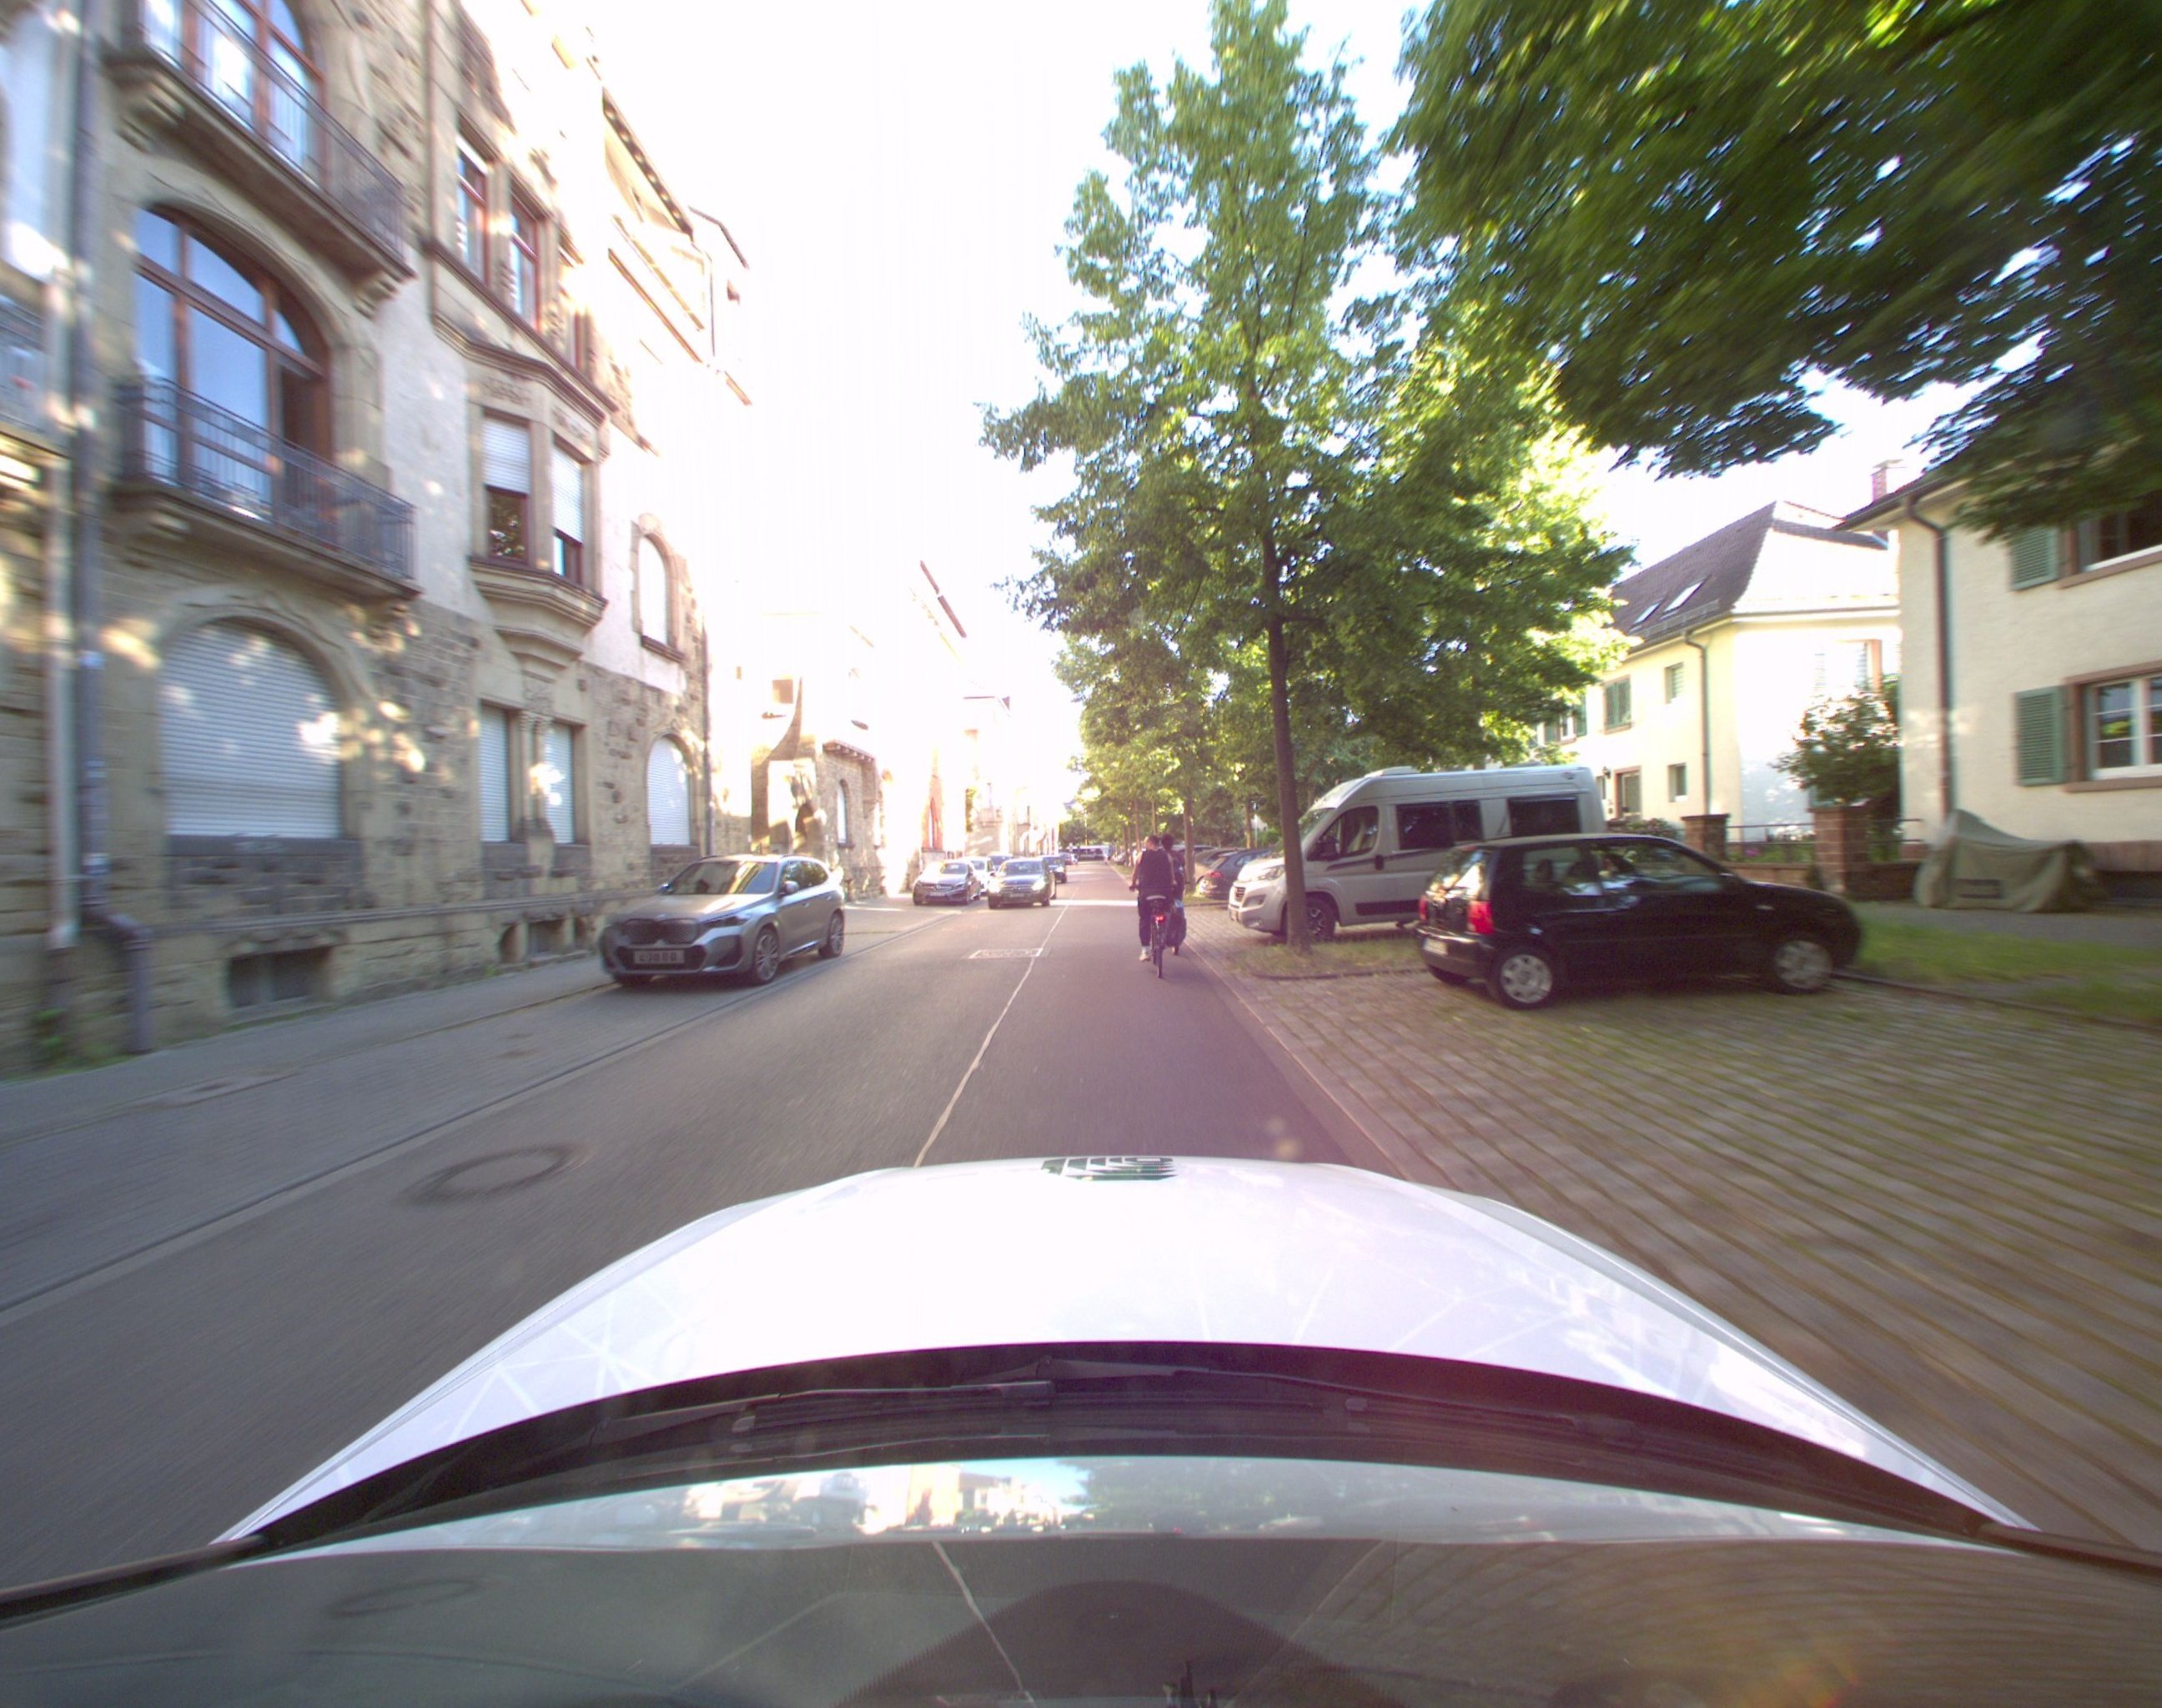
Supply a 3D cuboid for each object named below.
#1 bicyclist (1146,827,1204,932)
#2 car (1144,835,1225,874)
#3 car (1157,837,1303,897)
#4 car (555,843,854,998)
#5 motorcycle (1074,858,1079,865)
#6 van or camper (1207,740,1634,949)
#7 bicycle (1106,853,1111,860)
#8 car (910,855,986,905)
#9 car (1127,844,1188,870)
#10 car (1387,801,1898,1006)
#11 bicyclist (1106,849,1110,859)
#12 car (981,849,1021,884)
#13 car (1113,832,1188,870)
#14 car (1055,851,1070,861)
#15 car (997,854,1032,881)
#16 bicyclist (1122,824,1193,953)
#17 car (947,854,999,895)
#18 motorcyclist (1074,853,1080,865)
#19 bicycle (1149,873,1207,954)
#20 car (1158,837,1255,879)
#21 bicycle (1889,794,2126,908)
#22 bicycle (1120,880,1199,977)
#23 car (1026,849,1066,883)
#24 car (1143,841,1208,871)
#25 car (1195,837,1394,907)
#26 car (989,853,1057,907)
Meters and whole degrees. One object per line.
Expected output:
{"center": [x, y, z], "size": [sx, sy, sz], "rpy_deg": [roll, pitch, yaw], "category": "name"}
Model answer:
{"center": [1.418, 0.382, 12.449], "size": [0.716, 1.527, 0.972], "rpy_deg": [-2, -1, 0], "category": "bicyclist"}
{"center": [5.713, 0.048, 45.307], "size": [4.227, 1.840, 1.855], "rpy_deg": [-4, -1, 2], "category": "car"}
{"center": [4.695, 0.413, 26.018], "size": [4.232, 1.606, 1.752], "rpy_deg": [-4, -1, -2], "category": "car"}
{"center": [-4.765, 0.768, 11.173], "size": [2.044, 1.622, 4.393], "rpy_deg": [-2, -1, -1], "category": "car"}
{"center": [-0.517, 0.908, 99.678], "size": [0.549, 0.801, 1.307], "rpy_deg": [-3, 0, -1], "category": "motorcycle"}
{"center": [5.015, -0.133, 12.710], "size": [5.558, 2.536, 2.267], "rpy_deg": [-5, -1, -1], "category": "van or camper"}
{"center": [3.655, 0.353, 108.630], "size": [0.539, 0.828, 1.919], "rpy_deg": [-2, -1, 1], "category": "bicycle"}
{"center": [-4.405, 0.821, 27.548], "size": [1.749, 1.517, 4.115], "rpy_deg": [2, 0, 1], "category": "car"}
{"center": [6.188, 0.232, 65.928], "size": [4.739, 1.780, 1.855], "rpy_deg": [-4, -1, 2], "category": "car"}
{"center": [4.953, 0.419, 7.584], "size": [3.490, 1.472, 1.751], "rpy_deg": [-4, -1, 0], "category": "car"}
{"center": [3.611, 0.018, 108.689], "size": [0.415, 1.350, 0.430], "rpy_deg": [-2, -1, 1], "category": "bicyclist"}
{"center": [-4.107, 0.640, 42.436], "size": [1.625, 1.665, 3.968], "rpy_deg": [-2, -1, 0], "category": "car"}
{"center": [6.965, -0.283, 82.636], "size": [7.305, 3.282, 2.224], "rpy_deg": [-4, -1, 2], "category": "car"}
{"center": [-2.750, 0.317, 122.585], "size": [1.986, 1.530, 4.001], "rpy_deg": [-2, -1, 1], "category": "car"}
{"center": [-3.891, 0.779, 47.900], "size": [1.609, 1.482, 4.019], "rpy_deg": [2, 0, 1], "category": "car"}
{"center": [0.952, 0.421, 10.338], "size": [0.704, 1.527, 0.971], "rpy_deg": [-2, -1, -3], "category": "bicyclist"}
{"center": [-4.308, 0.784, 32.924], "size": [1.485, 1.517, 3.776], "rpy_deg": [2, 0, 1], "category": "car"}
{"center": [-0.492, 0.607, 99.682], "size": [0.549, 1.448, 0.688], "rpy_deg": [-3, 0, -2], "category": "motorcyclist"}
{"center": [1.448, 0.864, 12.489], "size": [0.554, 1.073, 1.967], "rpy_deg": [-2, 0, -2], "category": "bicycle"}
{"center": [5.782, 0.208, 37.892], "size": [4.227, 1.647, 1.855], "rpy_deg": [-4, -1, 2], "category": "car"}
{"center": [12.622, -0.036, 11.211], "size": [0.800, 1.399, 1.996], "rpy_deg": [-2, 0, -12], "category": "bicycle"}
{"center": [0.955, 0.891, 10.430], "size": [0.694, 1.073, 1.966], "rpy_deg": [-2, -1, -3], "category": "bicycle"}
{"center": [-1.809, 0.641, 43.650], "size": [1.761, 1.599, 4.091], "rpy_deg": [-5, -1, 1], "category": "car"}
{"center": [6.442, 0.155, 55.773], "size": [4.227, 1.797, 1.855], "rpy_deg": [-4, -1, 2], "category": "car"}
{"center": [5.234, 0.441, 20.433], "size": [4.485, 1.453, 1.817], "rpy_deg": [-3, -1, 2], "category": "car"}
{"center": [-1.733, 0.784, 25.686], "size": [1.891, 1.486, 4.378], "rpy_deg": [-2, -1, -2], "category": "car"}
